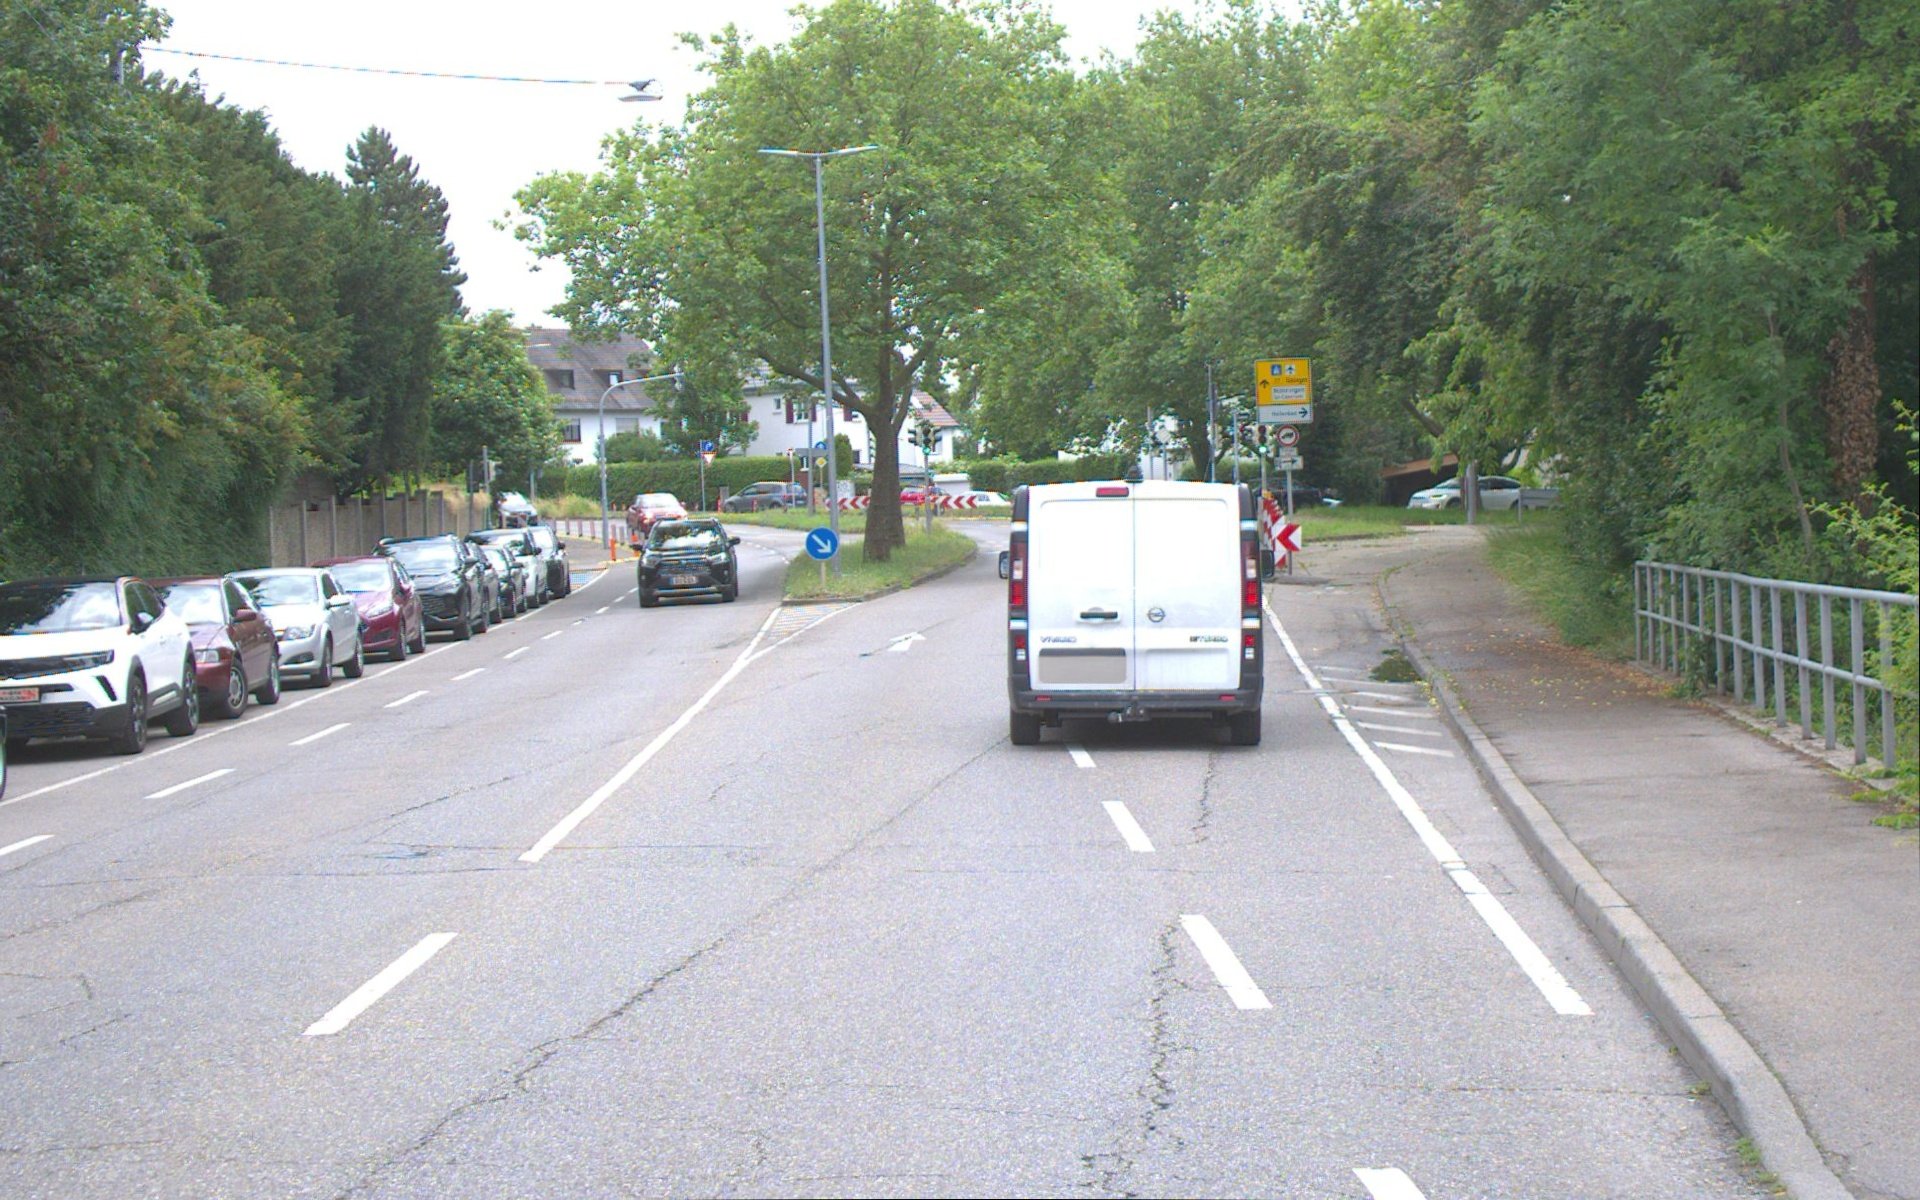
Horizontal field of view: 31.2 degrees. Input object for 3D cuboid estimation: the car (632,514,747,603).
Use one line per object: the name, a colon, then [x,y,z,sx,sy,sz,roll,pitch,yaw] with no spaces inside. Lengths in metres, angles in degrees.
car: [-5.347,-0.840,68.396,1.842,1.641,4.213,-2,1,1]

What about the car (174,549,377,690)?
car: [-8.257,0.191,41.821,1.669,1.483,4.432,-3,2,-2]

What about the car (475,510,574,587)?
car: [-9.762,-1.176,77.331,1.887,1.619,4.432,-2,2,-4]

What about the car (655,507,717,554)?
car: [-10.009,-2.559,125.851,1.998,1.582,3.998,-3,2,-2]

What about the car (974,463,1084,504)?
car: [3.142,-5.308,156.973,4.739,1.763,1.996,0,3,38]

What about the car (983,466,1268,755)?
car: [1.240,0.012,26.739,2.006,2.031,5.010,0,1,2]

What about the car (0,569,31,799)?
car: [-7.340,0.644,22.167,1.678,1.550,3.972,-4,1,-2]

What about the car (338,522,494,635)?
car: [-8.745,-0.381,55.592,1.993,1.637,4.467,-3,2,-4]

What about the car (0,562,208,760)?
car: [-7.888,0.503,29.997,1.889,1.489,4.028,-4,2,-3]

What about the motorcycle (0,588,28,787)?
motorcycle: [-7.539,0.645,25.674,0.886,1.350,2.307,-5,4,-18]

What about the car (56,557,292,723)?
car: [-8.044,0.367,35.502,1.669,1.473,3.912,-3,2,-3]

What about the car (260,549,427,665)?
car: [-8.670,0.060,48.615,1.779,1.433,4.001,-3,2,-3]

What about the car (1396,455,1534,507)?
car: [18.365,-4.327,124.911,4.729,1.763,2.000,-3,3,-31]

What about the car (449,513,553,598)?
car: [-9.580,-0.952,71.993,1.672,1.586,4.097,-4,2,-2]
